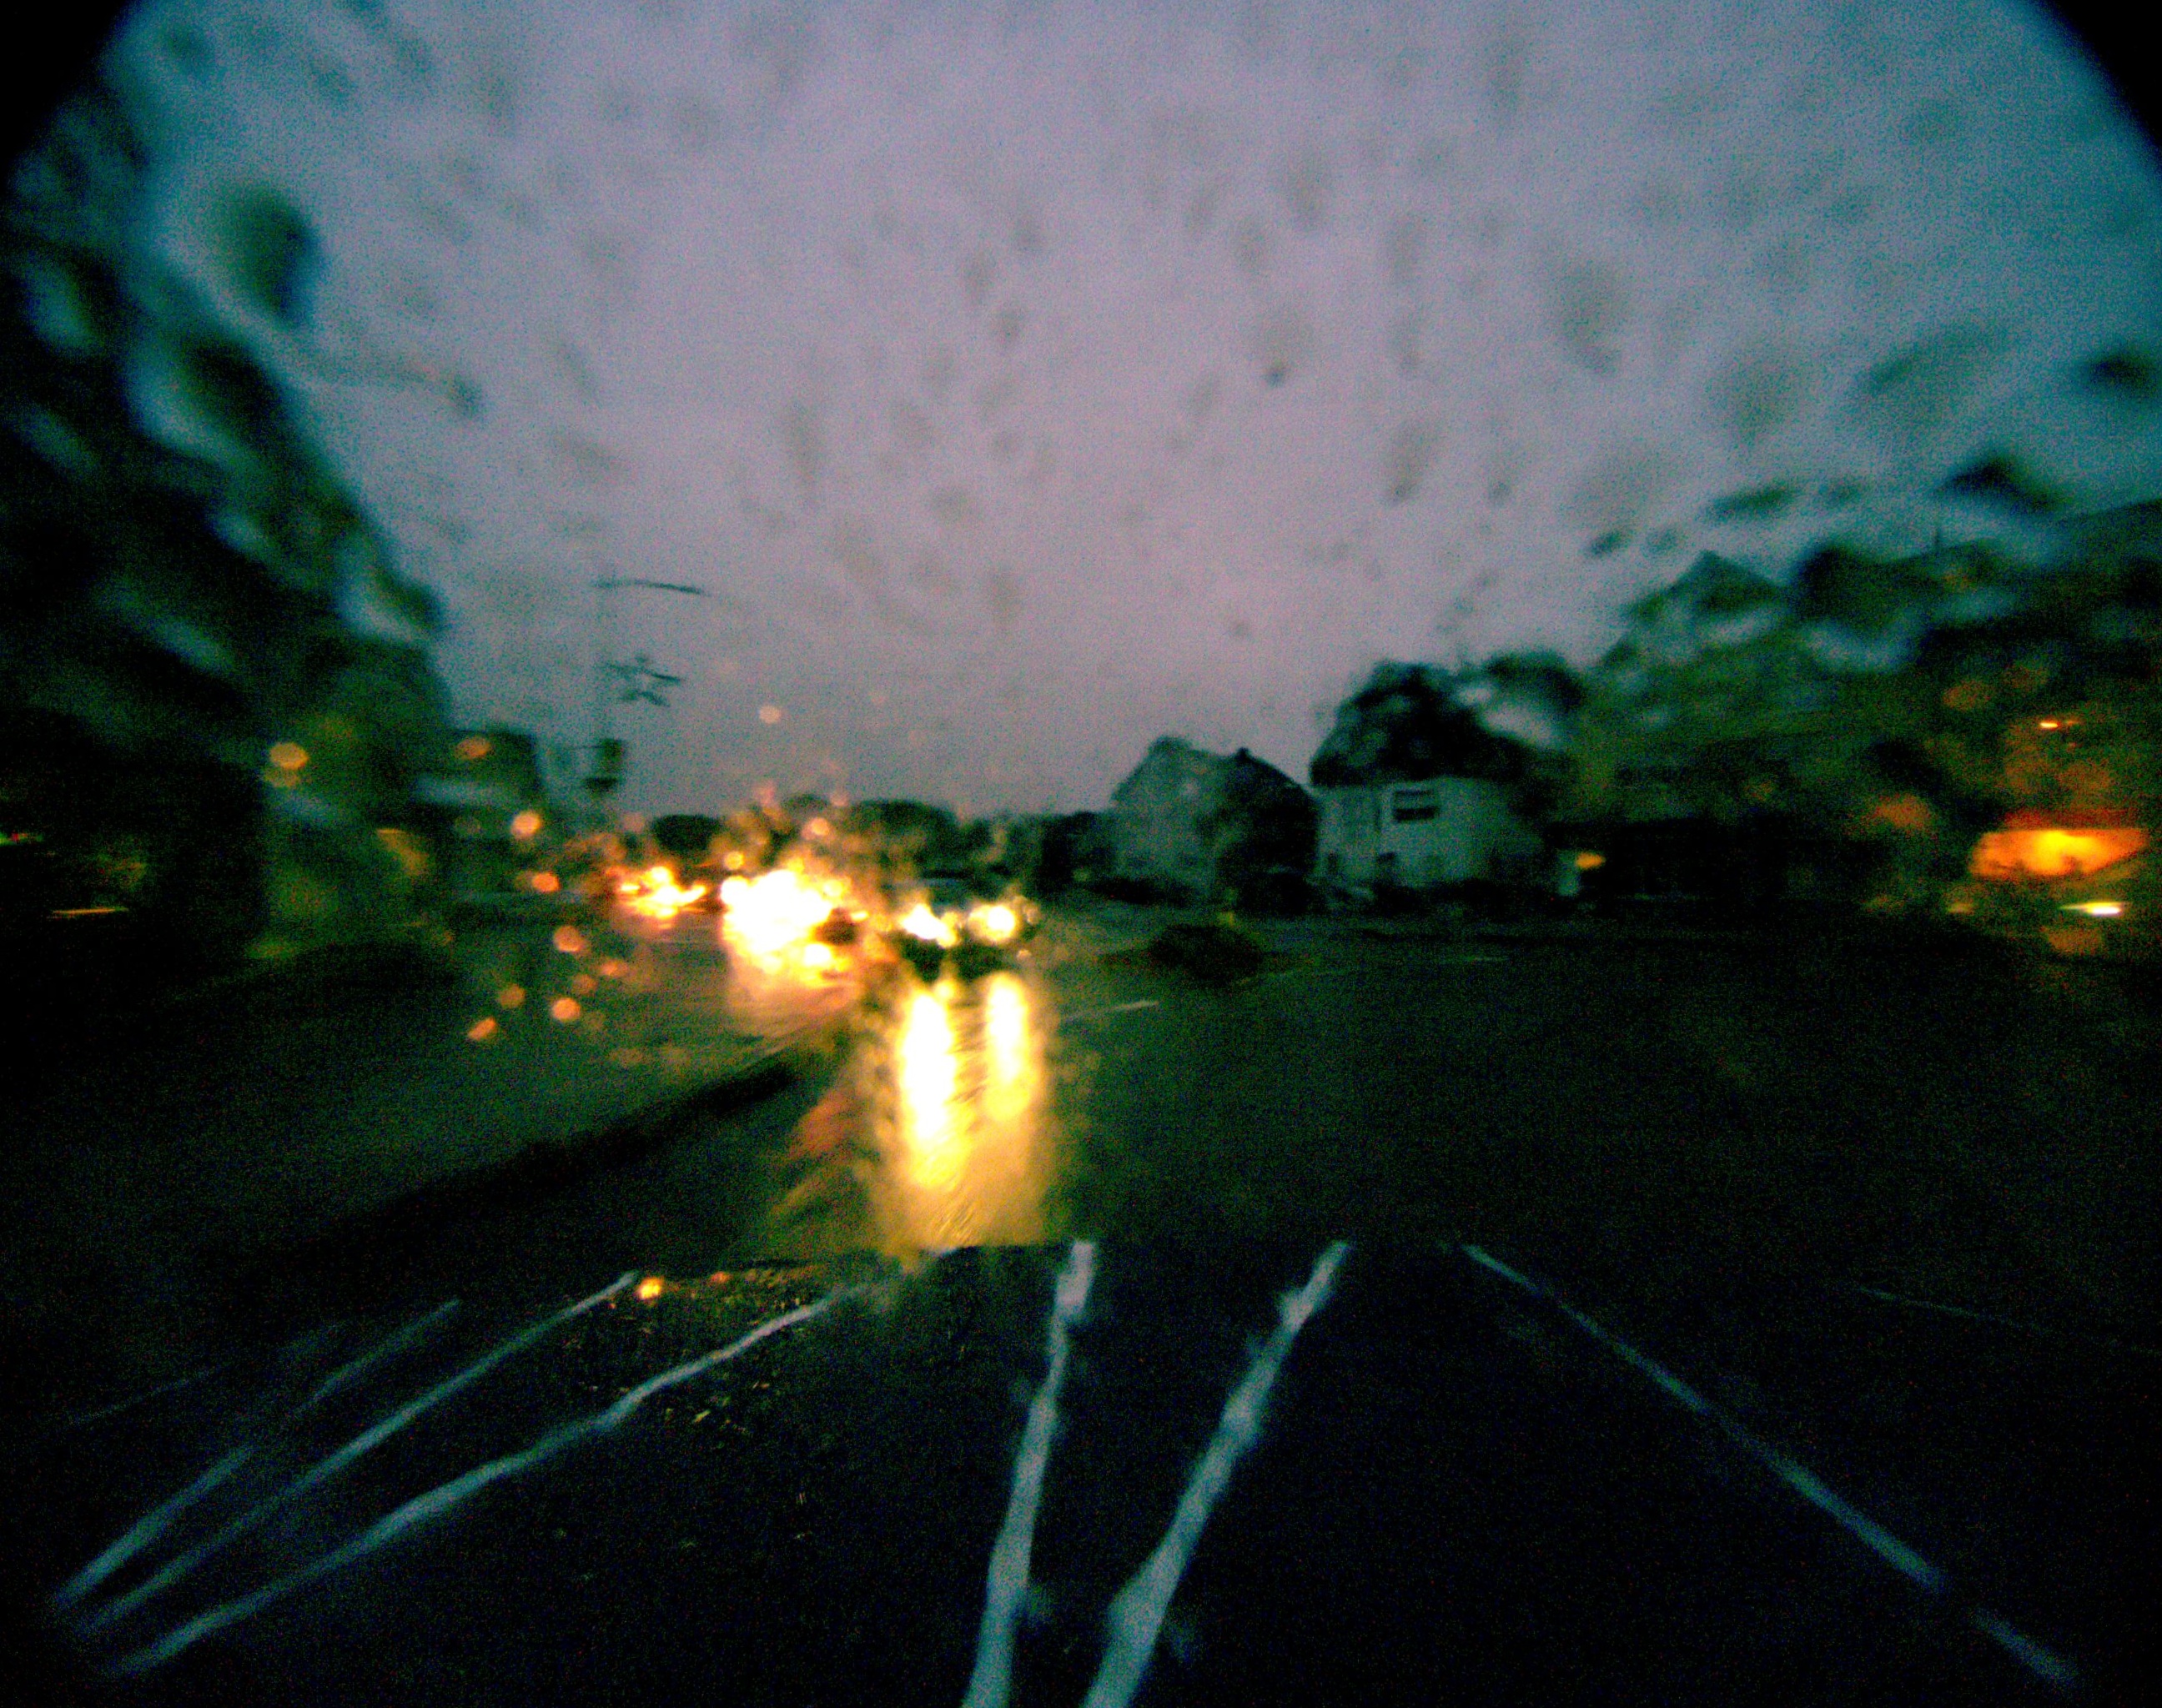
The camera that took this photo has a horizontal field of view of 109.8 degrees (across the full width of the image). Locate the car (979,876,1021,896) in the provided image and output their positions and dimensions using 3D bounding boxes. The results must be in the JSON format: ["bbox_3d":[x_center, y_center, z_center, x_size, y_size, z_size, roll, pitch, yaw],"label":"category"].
[{"bbox_3d":[-6.385,2.511,59.897,1.482,1.499,3.494,1,-1,-42],"label":"car"}]

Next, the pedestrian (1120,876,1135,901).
[{"bbox_3d":[2.414,1.784,39.526,0.601,1.294,0.512,-1,-1,20],"label":"pedestrian"}]

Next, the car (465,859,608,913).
[{"bbox_3d":[-22.456,1.353,31.518,4.565,1.921,1.970,6,-5,-36],"label":"car"}]

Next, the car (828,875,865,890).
[{"bbox_3d":[-24.251,2.950,78.498,4.245,1.460,1.804,-1,-2,44],"label":"car"}]

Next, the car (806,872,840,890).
[{"bbox_3d":[-27.890,2.889,82.074,4.245,1.816,1.804,-1,-1,44],"label":"car"}]

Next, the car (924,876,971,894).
[{"bbox_3d":[-11.610,2.663,65.891,4.245,1.460,1.804,-1,-2,44],"label":"car"}]

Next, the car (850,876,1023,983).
[{"bbox_3d":[-2.839,1.257,14.204,1.892,1.569,3.991,-2,0,-30],"label":"car"}]

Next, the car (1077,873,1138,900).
[{"bbox_3d":[1.680,2.082,49.815,1.707,1.650,3.949,-1,0,-42],"label":"car"}]

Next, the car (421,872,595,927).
[{"bbox_3d":[-17.217,1.347,22.926,4.009,1.494,1.808,3,-3,-42],"label":"car"}]

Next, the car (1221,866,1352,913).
[{"bbox_3d":[7.052,1.181,26.039,4.171,1.522,1.917,-1,0,19],"label":"car"}]

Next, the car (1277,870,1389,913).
[{"bbox_3d":[10.057,1.490,30.357,3.990,1.621,1.769,-1,-3,27],"label":"car"}]

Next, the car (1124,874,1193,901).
[{"bbox_3d":[4.679,2.002,46.230,1.784,1.560,4.083,-1,0,-39],"label":"car"}]

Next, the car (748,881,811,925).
[{"bbox_3d":[-11.325,1.773,28.427,1.575,1.460,3.608,-2,0,-31],"label":"car"}]

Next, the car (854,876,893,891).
[{"bbox_3d":[-20.435,2.866,74.689,4.245,1.460,1.804,-1,-2,44],"label":"car"}]

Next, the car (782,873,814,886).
[{"bbox_3d":[-31.975,2.889,85.820,4.006,1.459,1.680,-2,-4,40],"label":"car"}]

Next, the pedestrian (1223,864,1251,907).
[{"bbox_3d":[6.224,1.267,30.307,0.839,1.701,0.726,-1,-3,37],"label":"pedestrian"}]

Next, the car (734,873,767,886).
[{"bbox_3d":[-40.869,3.128,93.896,4.603,1.460,1.804,-1,-1,40],"label":"car"}]

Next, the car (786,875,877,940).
[{"bbox_3d":[-7.108,1.452,21.384,1.685,1.614,3.992,0,-2,-29],"label":"car"}]

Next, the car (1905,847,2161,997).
[{"bbox_3d":[13.019,0.700,8.662,4.625,1.583,1.956,-1,-1,11],"label":"car"}]

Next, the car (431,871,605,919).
[{"bbox_3d":[-18.888,1.410,25.683,4.533,1.483,1.970,4,-3,-37],"label":"car"}]

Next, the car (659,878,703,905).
[{"bbox_3d":[-25.296,2.325,48.004,1.838,1.535,3.705,-1,0,-38],"label":"car"}]

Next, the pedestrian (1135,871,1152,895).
[{"bbox_3d":[3.344,1.538,40.588,0.694,1.242,0.601,-1,-1,-37],"label":"pedestrian"}]

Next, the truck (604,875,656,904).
[{"bbox_3d":[-37.672,2.922,63.376,6.087,2.217,2.254,-2,0,45],"label":"truck"}]

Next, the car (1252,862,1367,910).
[{"bbox_3d":[8.454,1.182,28.128,3.887,1.659,1.844,-1,-3,23],"label":"car"}]

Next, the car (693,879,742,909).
[{"bbox_3d":[-19.251,2.069,40.155,1.745,1.434,3.990,-2,0,-33],"label":"car"}]
